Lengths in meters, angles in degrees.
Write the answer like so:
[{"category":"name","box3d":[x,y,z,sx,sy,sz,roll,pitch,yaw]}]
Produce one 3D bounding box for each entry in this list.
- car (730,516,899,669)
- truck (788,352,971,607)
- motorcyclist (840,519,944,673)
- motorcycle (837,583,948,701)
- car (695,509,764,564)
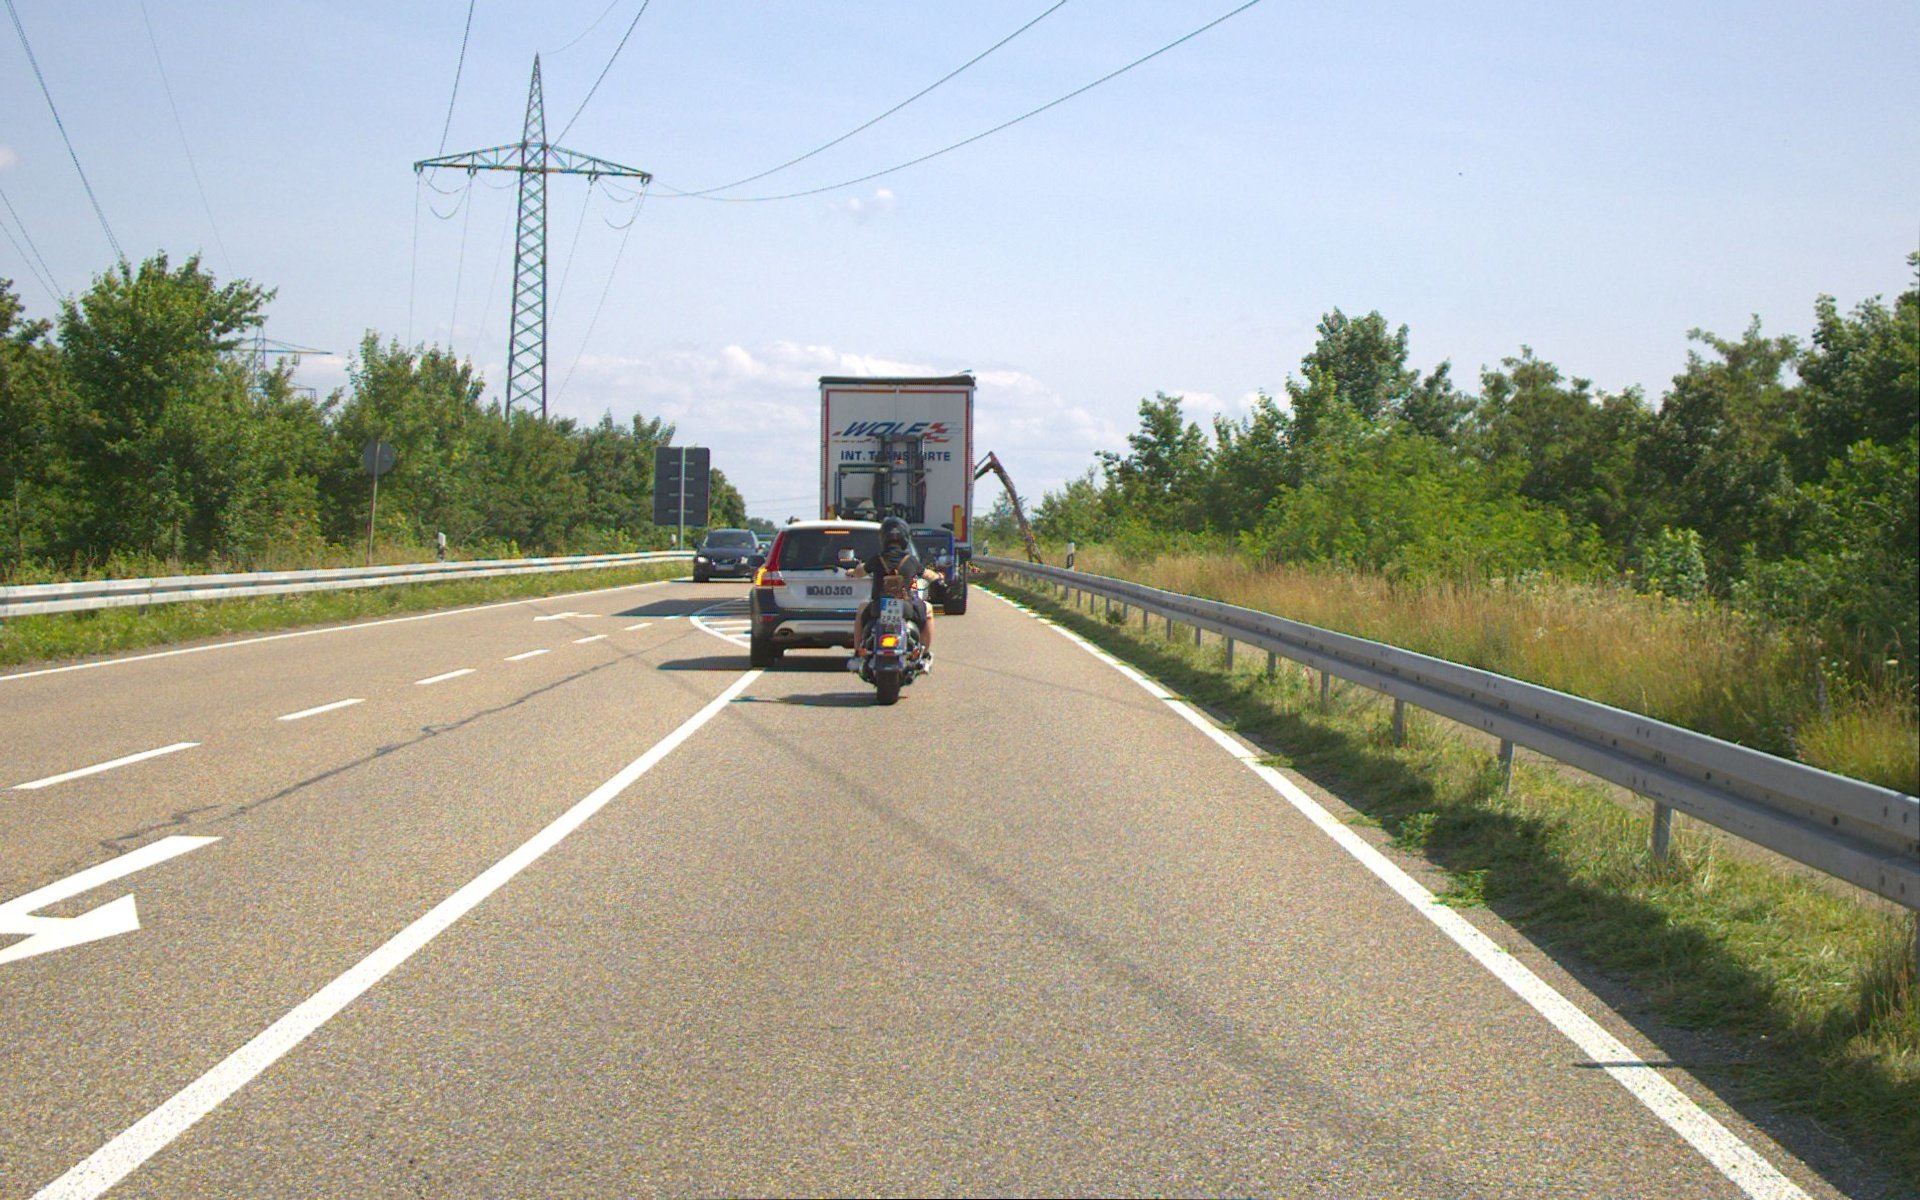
[{"category":"car","box3d":[-1.534,-0.115,36.797,1.701,1.531,3.499,1,1,-2]},{"category":"truck","box3d":[-1.310,-2.162,64.410,2.968,4.172,14.822,1,1,0]},{"category":"motorcyclist","box3d":[-0.586,-0.045,29.159,0.837,1.276,0.919,1,1,-3]},{"category":"motorcycle","box3d":[-0.588,0.337,29.170,0.858,0.912,2.228,1,1,-3]},{"category":"car","box3d":[-6.496,-1.813,97.260,1.727,1.486,4.423,1,1,-1]}]
